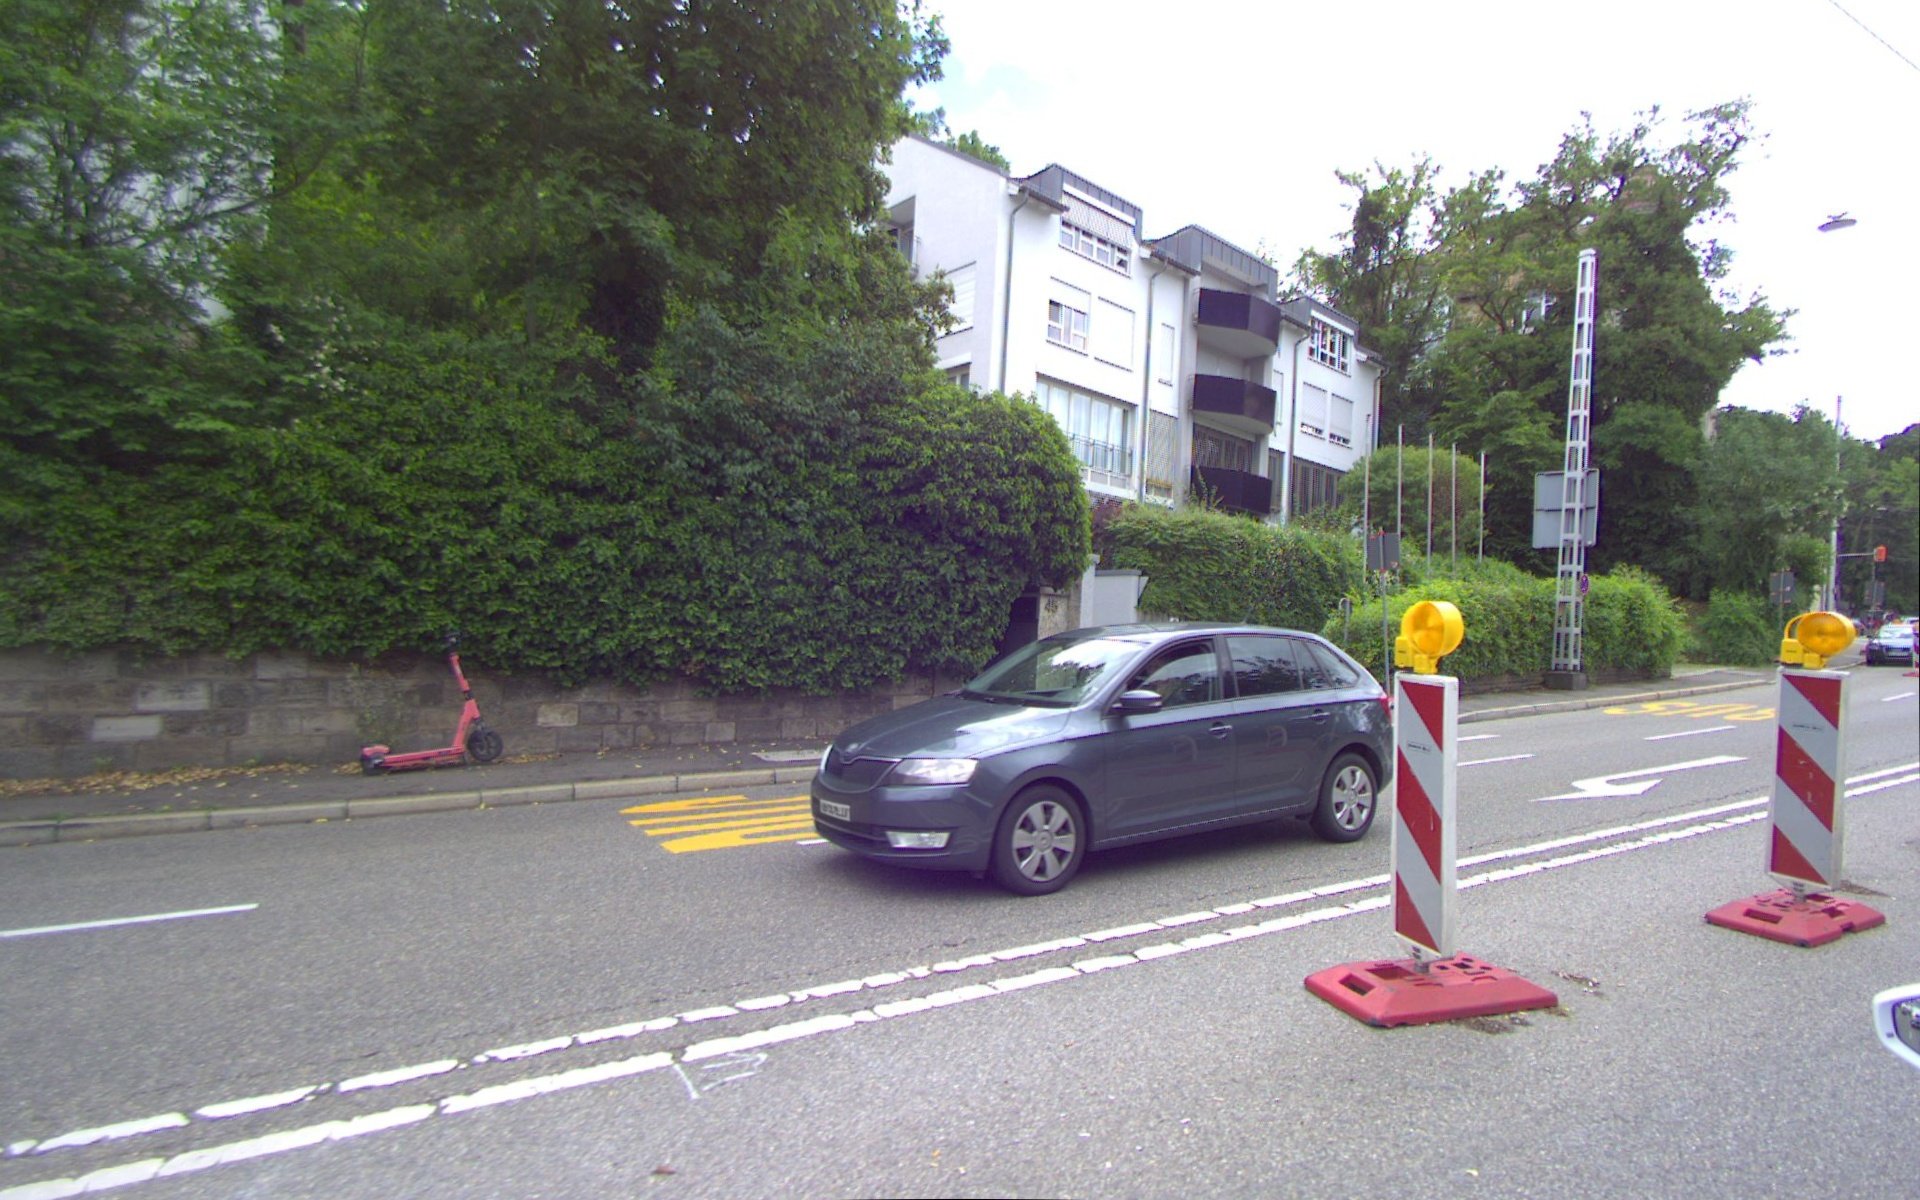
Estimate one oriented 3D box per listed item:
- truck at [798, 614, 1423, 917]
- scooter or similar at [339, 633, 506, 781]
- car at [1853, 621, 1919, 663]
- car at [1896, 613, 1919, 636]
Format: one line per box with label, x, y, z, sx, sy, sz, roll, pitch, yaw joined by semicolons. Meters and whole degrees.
truck;1.100;0.848;6.635;3.981;1.462;1.653;1;-2;-32
scooter or similar;-4.837;0.922;9.054;1.266;1.221;0.534;1;1;-35
car;32.743;1.432;35.149;3.972;1.400;1.878;1;-2;-43
car;64.296;1.660;66.959;1.965;1.469;4.142;-1;-2;31
